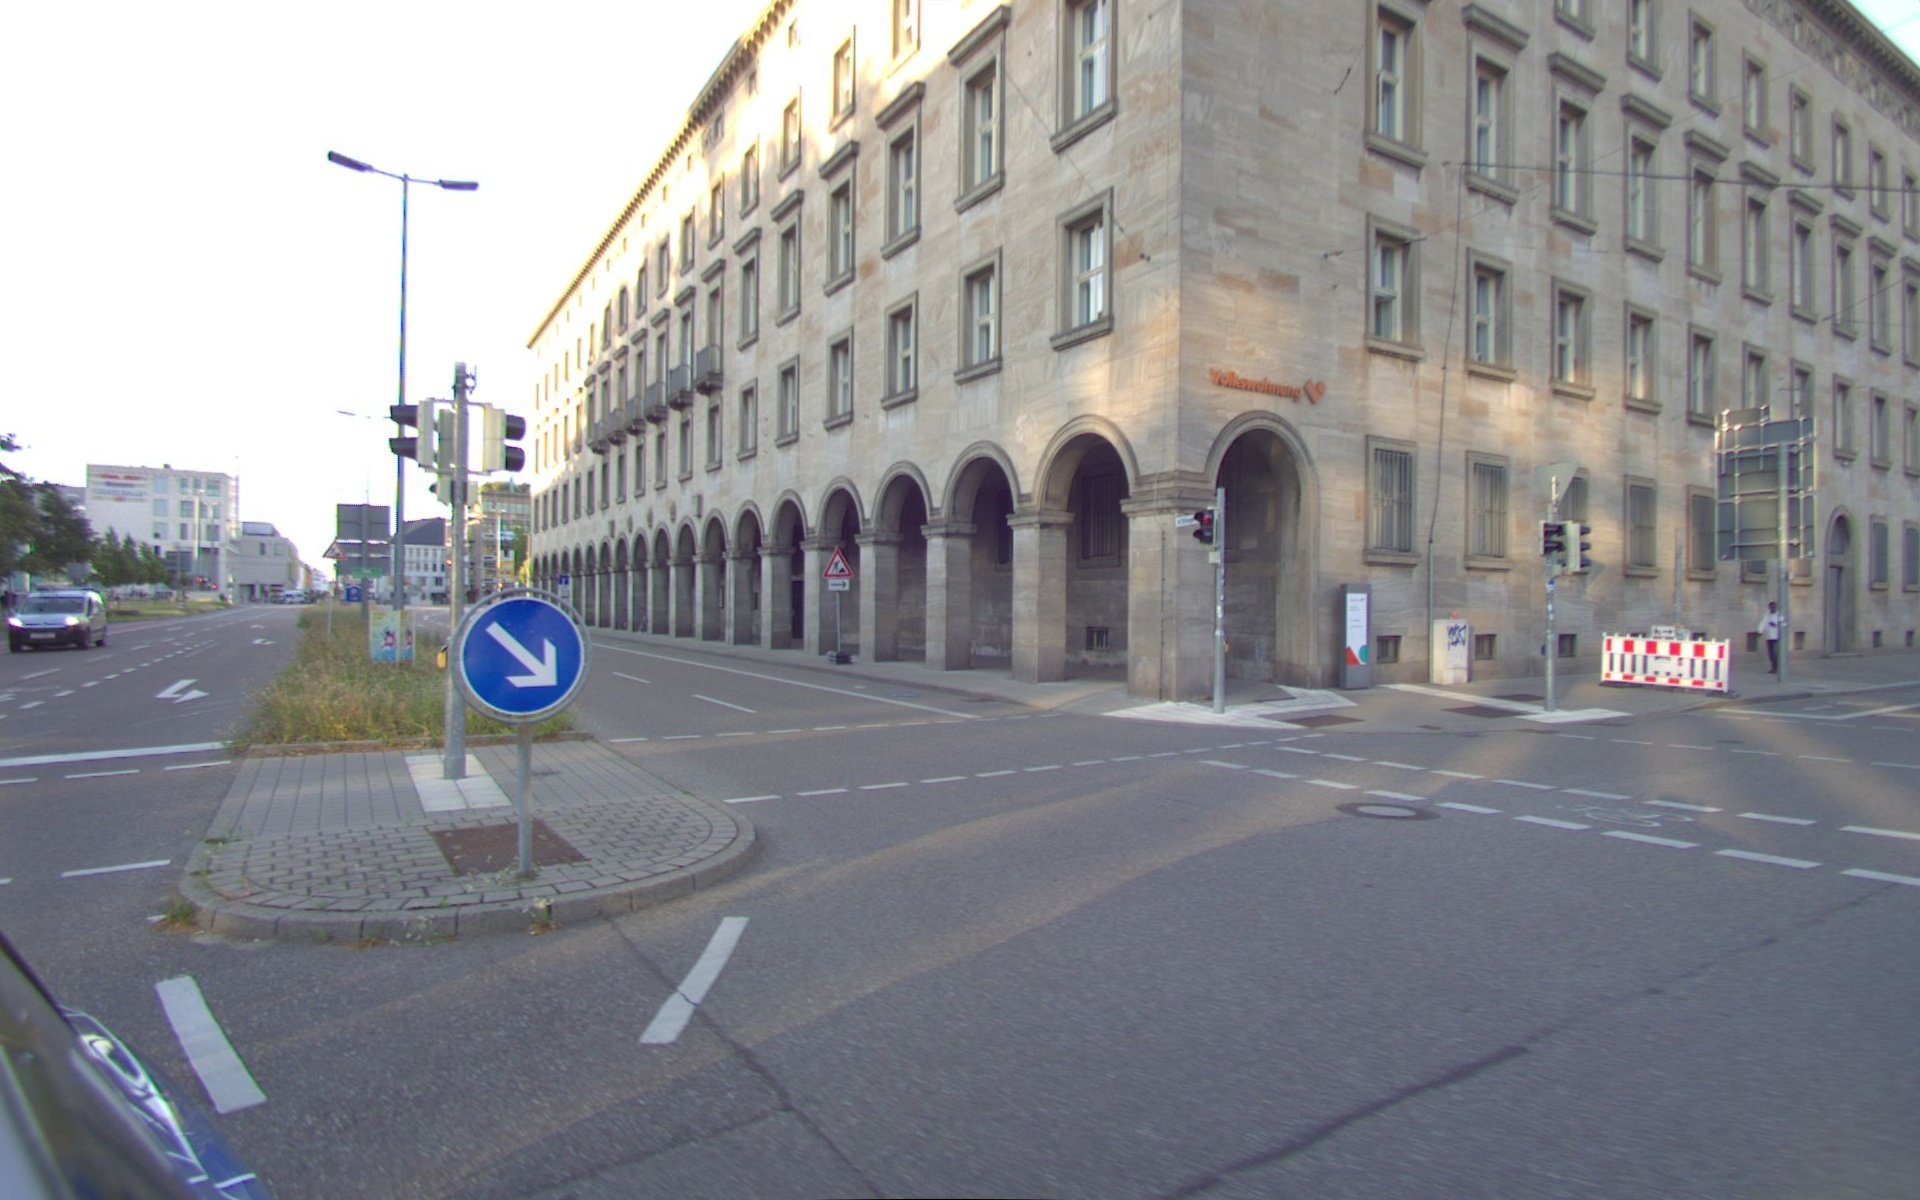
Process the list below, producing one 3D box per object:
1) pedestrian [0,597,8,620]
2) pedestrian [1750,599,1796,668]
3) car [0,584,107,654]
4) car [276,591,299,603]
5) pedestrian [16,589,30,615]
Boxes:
[{"bbox_3d":[-57.160,0.504,60.278,0.623,1.405,0.646,1,-1,-45],"label":"pedestrian"},{"bbox_3d":[20.471,0.836,25.487,0.635,1.723,0.700,1,-1,-29],"label":"pedestrian"},{"bbox_3d":[-27.026,0.540,30.238,1.775,1.926,4.478,1,0,-33],"label":"car"},{"bbox_3d":[-128.705,-0.514,193.699,1.969,2.028,4.005,-4,0,-6],"label":"car"},{"bbox_3d":[-60.515,0.132,65.365,0.623,1.678,0.646,1,-1,-45],"label":"pedestrian"}]
